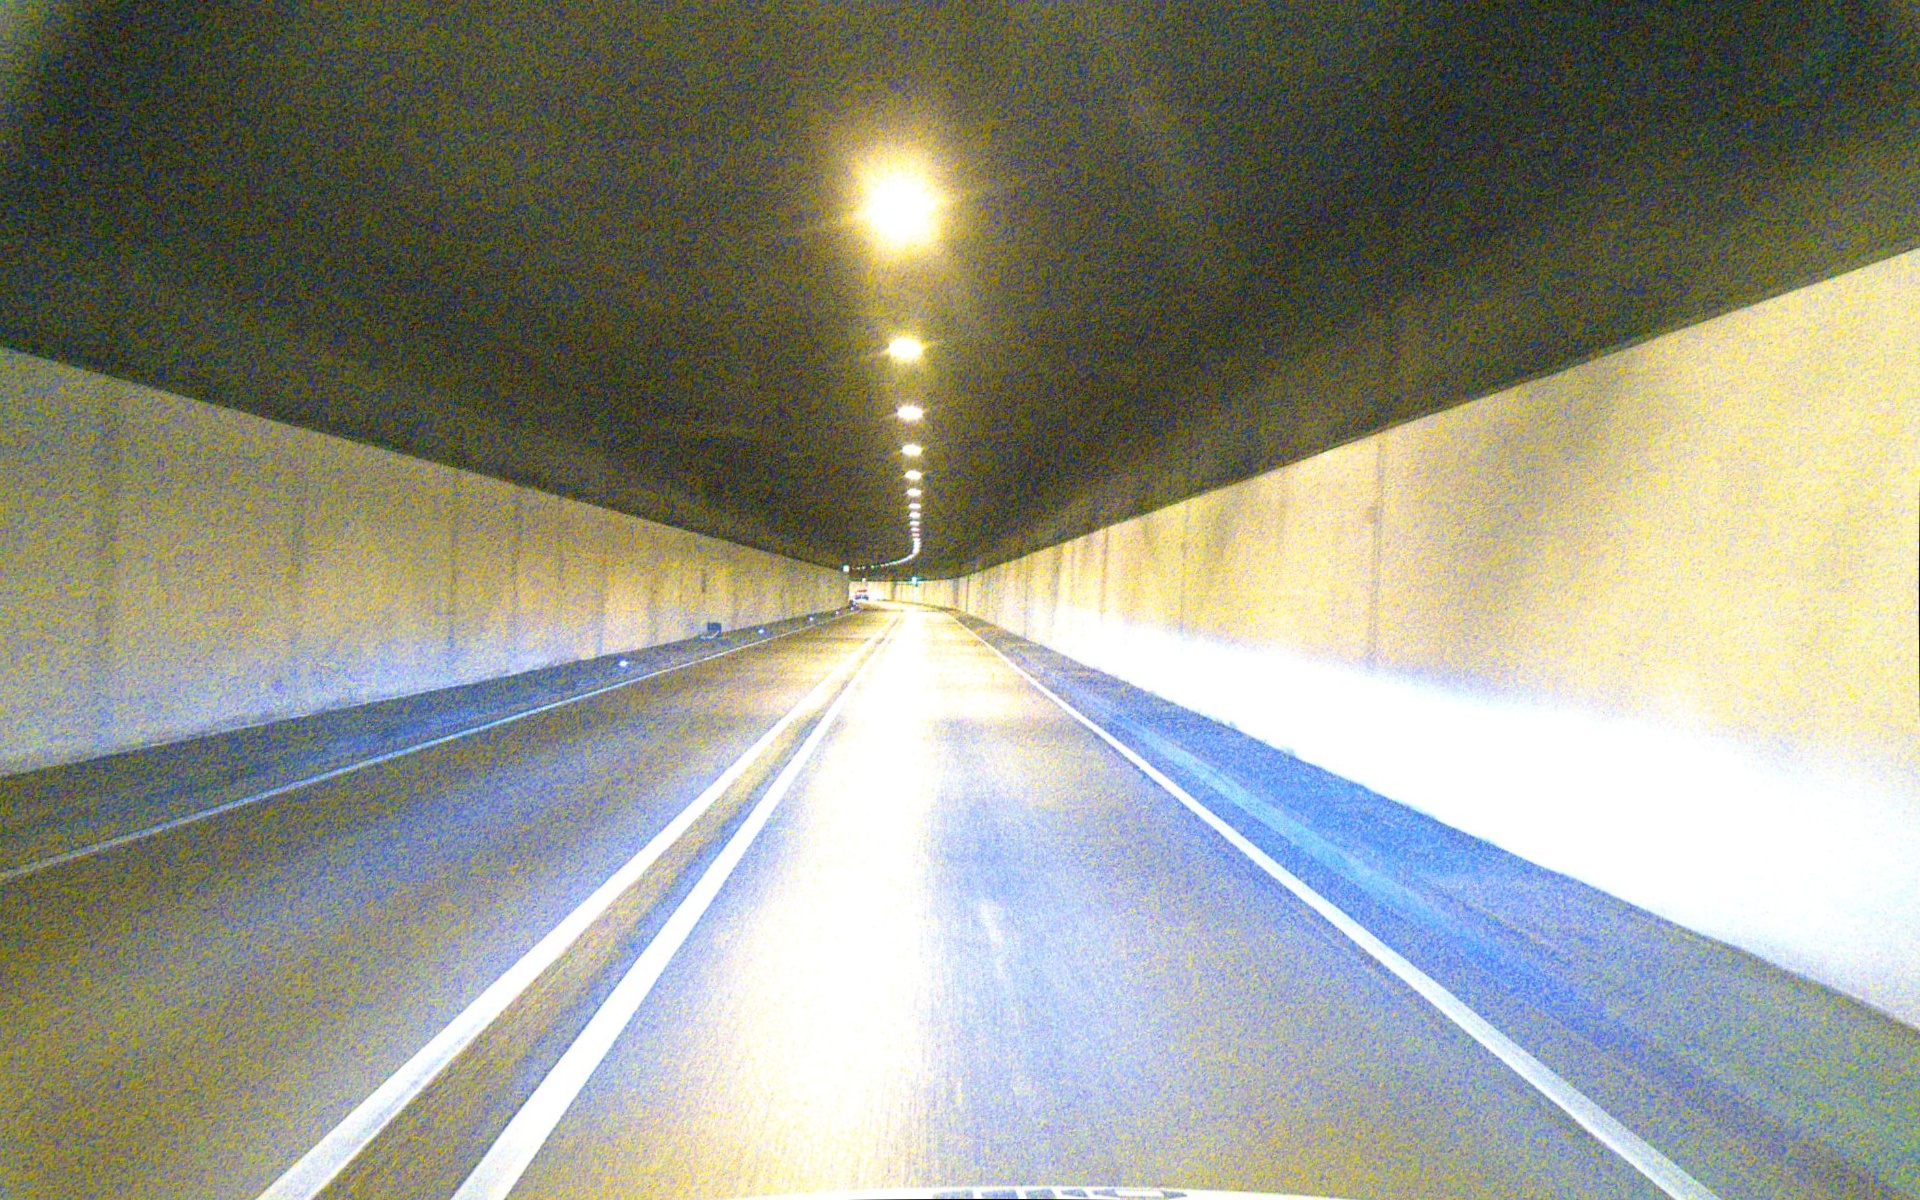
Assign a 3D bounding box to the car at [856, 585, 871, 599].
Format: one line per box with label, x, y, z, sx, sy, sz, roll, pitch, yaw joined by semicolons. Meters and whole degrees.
car;-14.479;-1.233;249.042;1.929;1.973;4.605;2;-1;-7
